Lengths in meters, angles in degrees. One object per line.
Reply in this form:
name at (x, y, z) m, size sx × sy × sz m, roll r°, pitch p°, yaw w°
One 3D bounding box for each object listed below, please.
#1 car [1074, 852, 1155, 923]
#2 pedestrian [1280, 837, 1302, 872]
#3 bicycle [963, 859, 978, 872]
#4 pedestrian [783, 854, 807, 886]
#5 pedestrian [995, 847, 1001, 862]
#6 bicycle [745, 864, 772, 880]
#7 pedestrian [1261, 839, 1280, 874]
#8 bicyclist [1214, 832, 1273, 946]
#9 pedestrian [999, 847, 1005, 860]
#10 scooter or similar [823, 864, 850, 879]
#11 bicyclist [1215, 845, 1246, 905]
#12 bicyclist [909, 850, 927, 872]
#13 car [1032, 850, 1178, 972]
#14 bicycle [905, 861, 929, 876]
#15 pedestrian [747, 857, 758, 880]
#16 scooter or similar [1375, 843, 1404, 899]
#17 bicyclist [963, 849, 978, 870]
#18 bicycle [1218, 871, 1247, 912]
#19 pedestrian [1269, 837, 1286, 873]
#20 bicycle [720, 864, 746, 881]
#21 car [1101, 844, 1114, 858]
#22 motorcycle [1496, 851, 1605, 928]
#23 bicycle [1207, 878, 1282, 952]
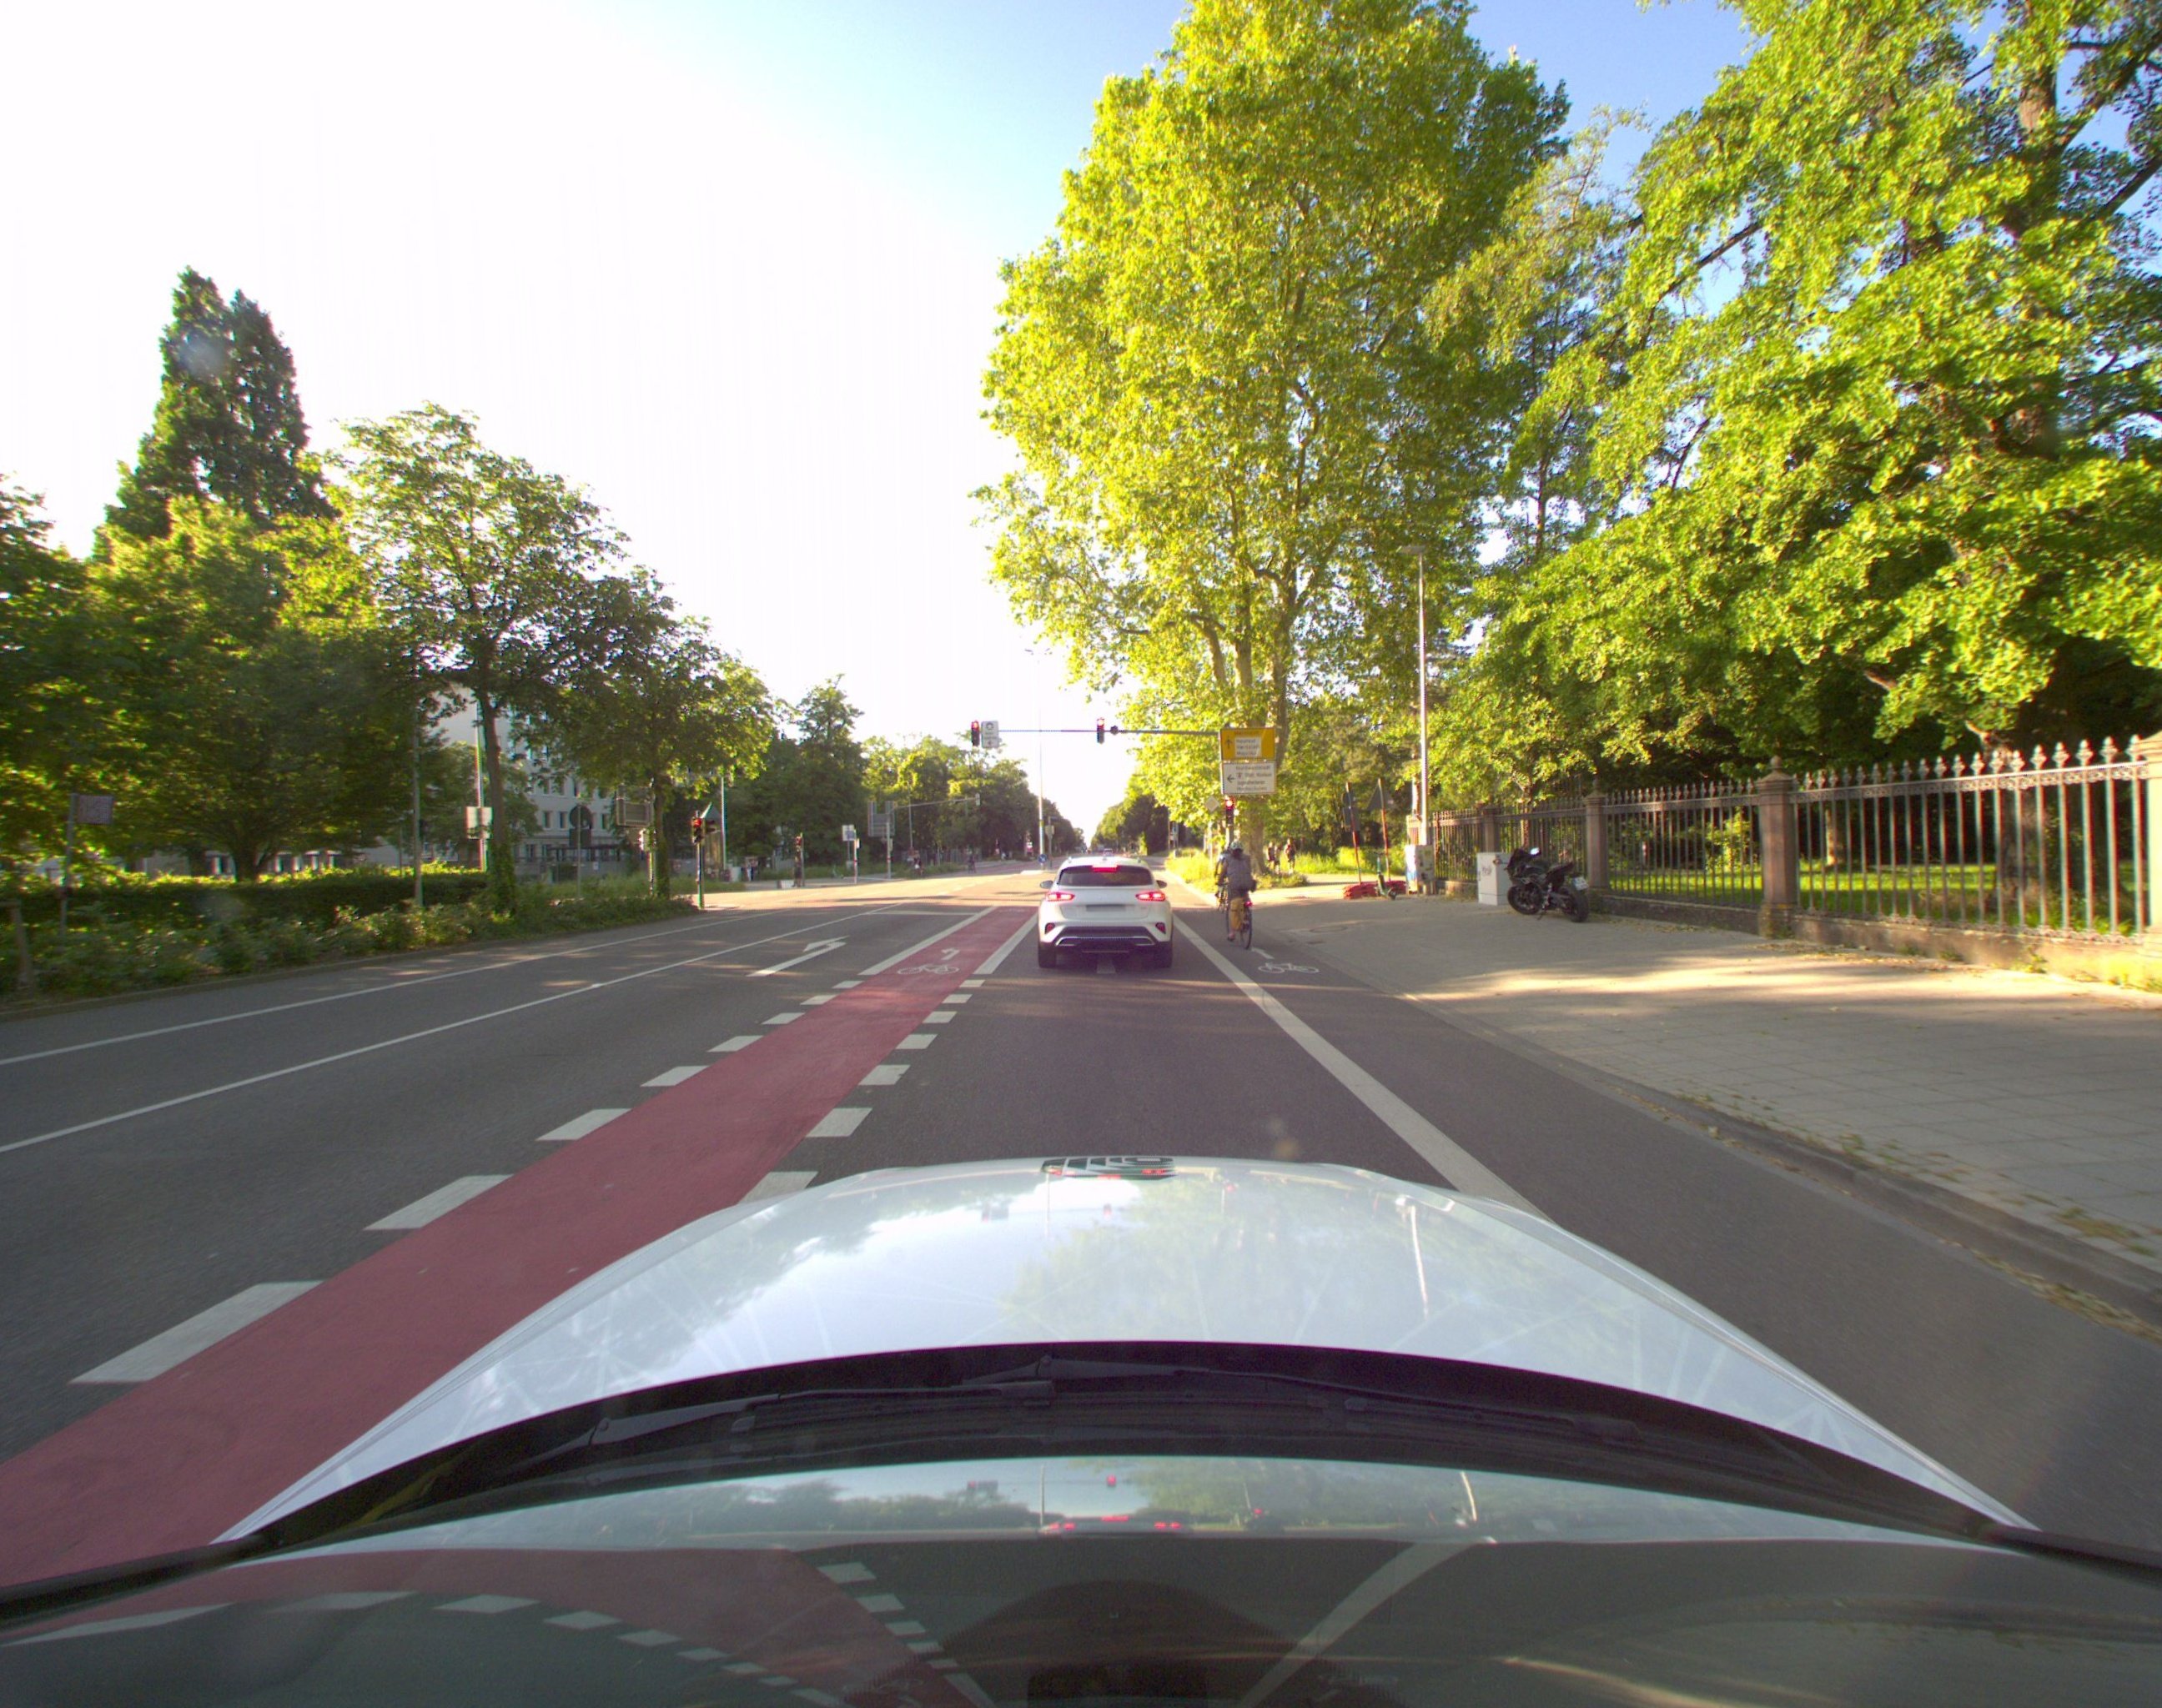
car at (0.753, 0.733, 19.655) m, size 1.723 × 1.483 × 3.517 m, roll -2°, pitch 0°, yaw 0°
pedestrian at (10.715, 0.024, 41.555) m, size 0.816 × 1.771 × 0.831 m, roll -2°, pitch 0°, yaw -5°
bicycle at (-8.857, 0.927, 65.574) m, size 0.660 × 0.989 × 2.507 m, roll -2°, pitch 0°, yaw 4°
pedestrian at (-18.299, 0.985, 52.072) m, size 0.989 × 2.014 × 1.193 m, roll -1°, pitch 0°, yaw 7°
pedestrian at (-11.199, 0.092, 109.820) m, size 0.637 × 2.014 × 0.756 m, roll -1°, pitch -1°, yaw 12°
bicycle at (-23.420, 1.312, 59.150) m, size 1.858 × 1.148 × 0.290 m, roll -1°, pitch -1°, yaw -5°
pedestrian at (9.515, 0.140, 40.887) m, size 0.688 × 1.699 × 0.643 m, roll -2°, pitch 0°, yaw -5°
bicyclist at (2.663, 0.543, 13.441) m, size 0.750 × 1.795 × 1.165 m, roll 0°, pitch 0°, yaw 1°
pedestrian at (-10.674, -0.062, 110.119) m, size 0.781 × 1.785 × 0.752 m, roll -1°, pitch -1°, yaw 2°
scooter or similar at (-18.219, 1.302, 60.718) m, size 0.703 × 1.124 × 1.933 m, roll -1°, pitch 0°, yaw 35°
bicyclist at (3.818, 0.535, 20.812) m, size 0.552 × 1.478 × 0.717 m, roll -5°, pitch 0°, yaw 0°
bicyclist at (-12.251, 0.552, 61.274) m, size 0.868 × 1.606 × 0.982 m, roll -2°, pitch 0°, yaw 15°
car at (0.328, 0.710, 12.230) m, size 1.815 × 1.480 × 3.937 m, roll -1°, pitch 0°, yaw 1°
bicycle at (-12.268, 1.093, 61.132) m, size 0.575 × 0.989 × 2.725 m, roll -2°, pitch 0°, yaw 15°
pedestrian at (-23.635, 1.045, 58.621) m, size 0.628 × 1.580 × 0.444 m, roll -1°, pitch -1°, yaw -8°
scooter or similar at (7.537, 0.405, 19.949) m, size 0.227 × 1.327 × 1.172 m, roll -2°, pitch 0°, yaw 1°
bicyclist at (-8.883, 0.436, 65.468) m, size 0.871 × 1.608 × 1.190 m, roll -2°, pitch 0°, yaw 4°
bicycle at (3.851, 0.939, 20.790) m, size 0.400 × 0.956 × 1.551 m, roll -5°, pitch 0°, yaw 1°
pedestrian at (9.987, 0.058, 41.335) m, size 0.614 × 1.771 × 0.646 m, roll -2°, pitch 0°, yaw -5°
bicycle at (-25.360, 1.347, 59.317) m, size 1.849 × 1.148 × 0.444 m, roll -1°, pitch -1°, yaw 12°
car at (4.128, -0.496, 126.179) m, size 1.986 × 2.013 × 4.002 m, roll -3°, pitch 0°, yaw 2°
motorcycle at (7.631, 0.539, 13.368) m, size 0.504 × 1.131 × 2.171 m, roll -3°, pitch 0°, yaw 1°
bicycle at (2.664, 0.957, 13.544) m, size 0.755 × 1.013 × 2.570 m, roll 0°, pitch 0°, yaw 1°
